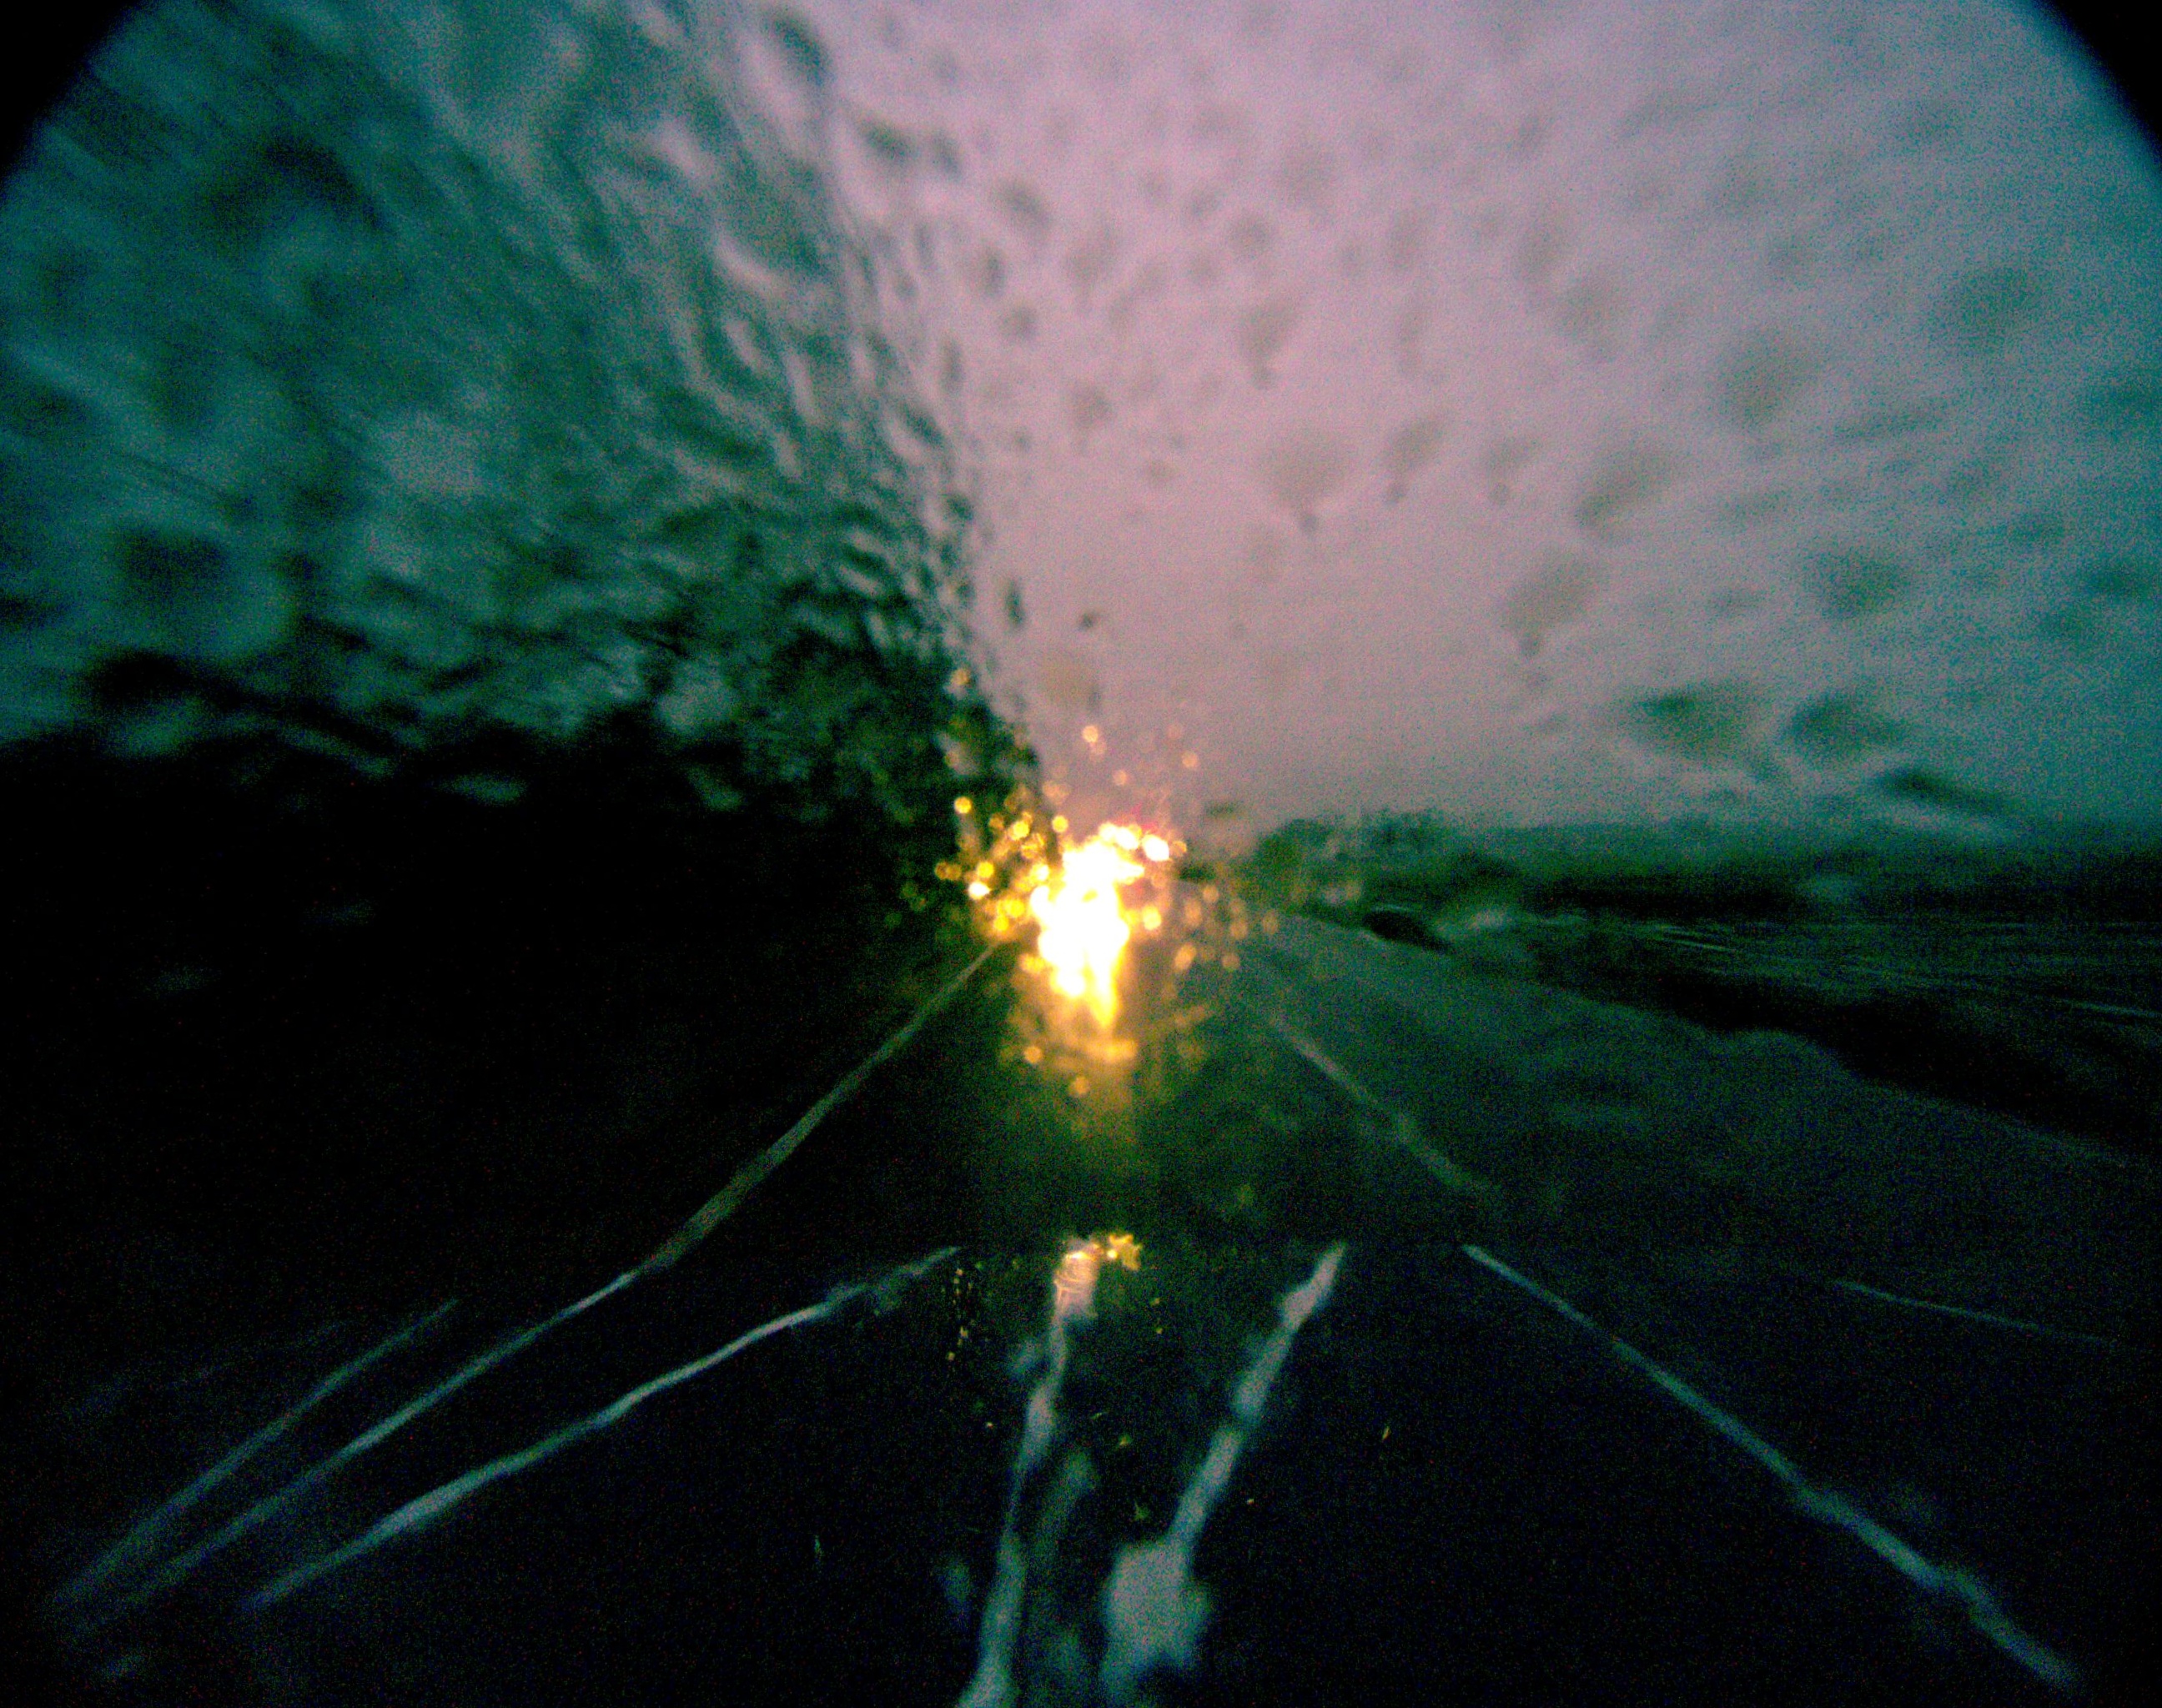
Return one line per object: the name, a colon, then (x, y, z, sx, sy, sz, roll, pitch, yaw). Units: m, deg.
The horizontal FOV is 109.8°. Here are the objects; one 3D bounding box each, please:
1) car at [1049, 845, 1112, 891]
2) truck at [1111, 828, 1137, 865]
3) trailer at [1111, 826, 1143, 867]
car: (0.071, 0.600, 36.838, 2.704, 1.974, 5.804, -2, 1, 2)
truck: (4.872, -0.804, 87.106, 2.732, 4.081, 6.588, -1, 0, 1)
trailer: (4.757, -0.752, 80.631, 2.708, 4.056, 12.381, -1, 0, 1)
